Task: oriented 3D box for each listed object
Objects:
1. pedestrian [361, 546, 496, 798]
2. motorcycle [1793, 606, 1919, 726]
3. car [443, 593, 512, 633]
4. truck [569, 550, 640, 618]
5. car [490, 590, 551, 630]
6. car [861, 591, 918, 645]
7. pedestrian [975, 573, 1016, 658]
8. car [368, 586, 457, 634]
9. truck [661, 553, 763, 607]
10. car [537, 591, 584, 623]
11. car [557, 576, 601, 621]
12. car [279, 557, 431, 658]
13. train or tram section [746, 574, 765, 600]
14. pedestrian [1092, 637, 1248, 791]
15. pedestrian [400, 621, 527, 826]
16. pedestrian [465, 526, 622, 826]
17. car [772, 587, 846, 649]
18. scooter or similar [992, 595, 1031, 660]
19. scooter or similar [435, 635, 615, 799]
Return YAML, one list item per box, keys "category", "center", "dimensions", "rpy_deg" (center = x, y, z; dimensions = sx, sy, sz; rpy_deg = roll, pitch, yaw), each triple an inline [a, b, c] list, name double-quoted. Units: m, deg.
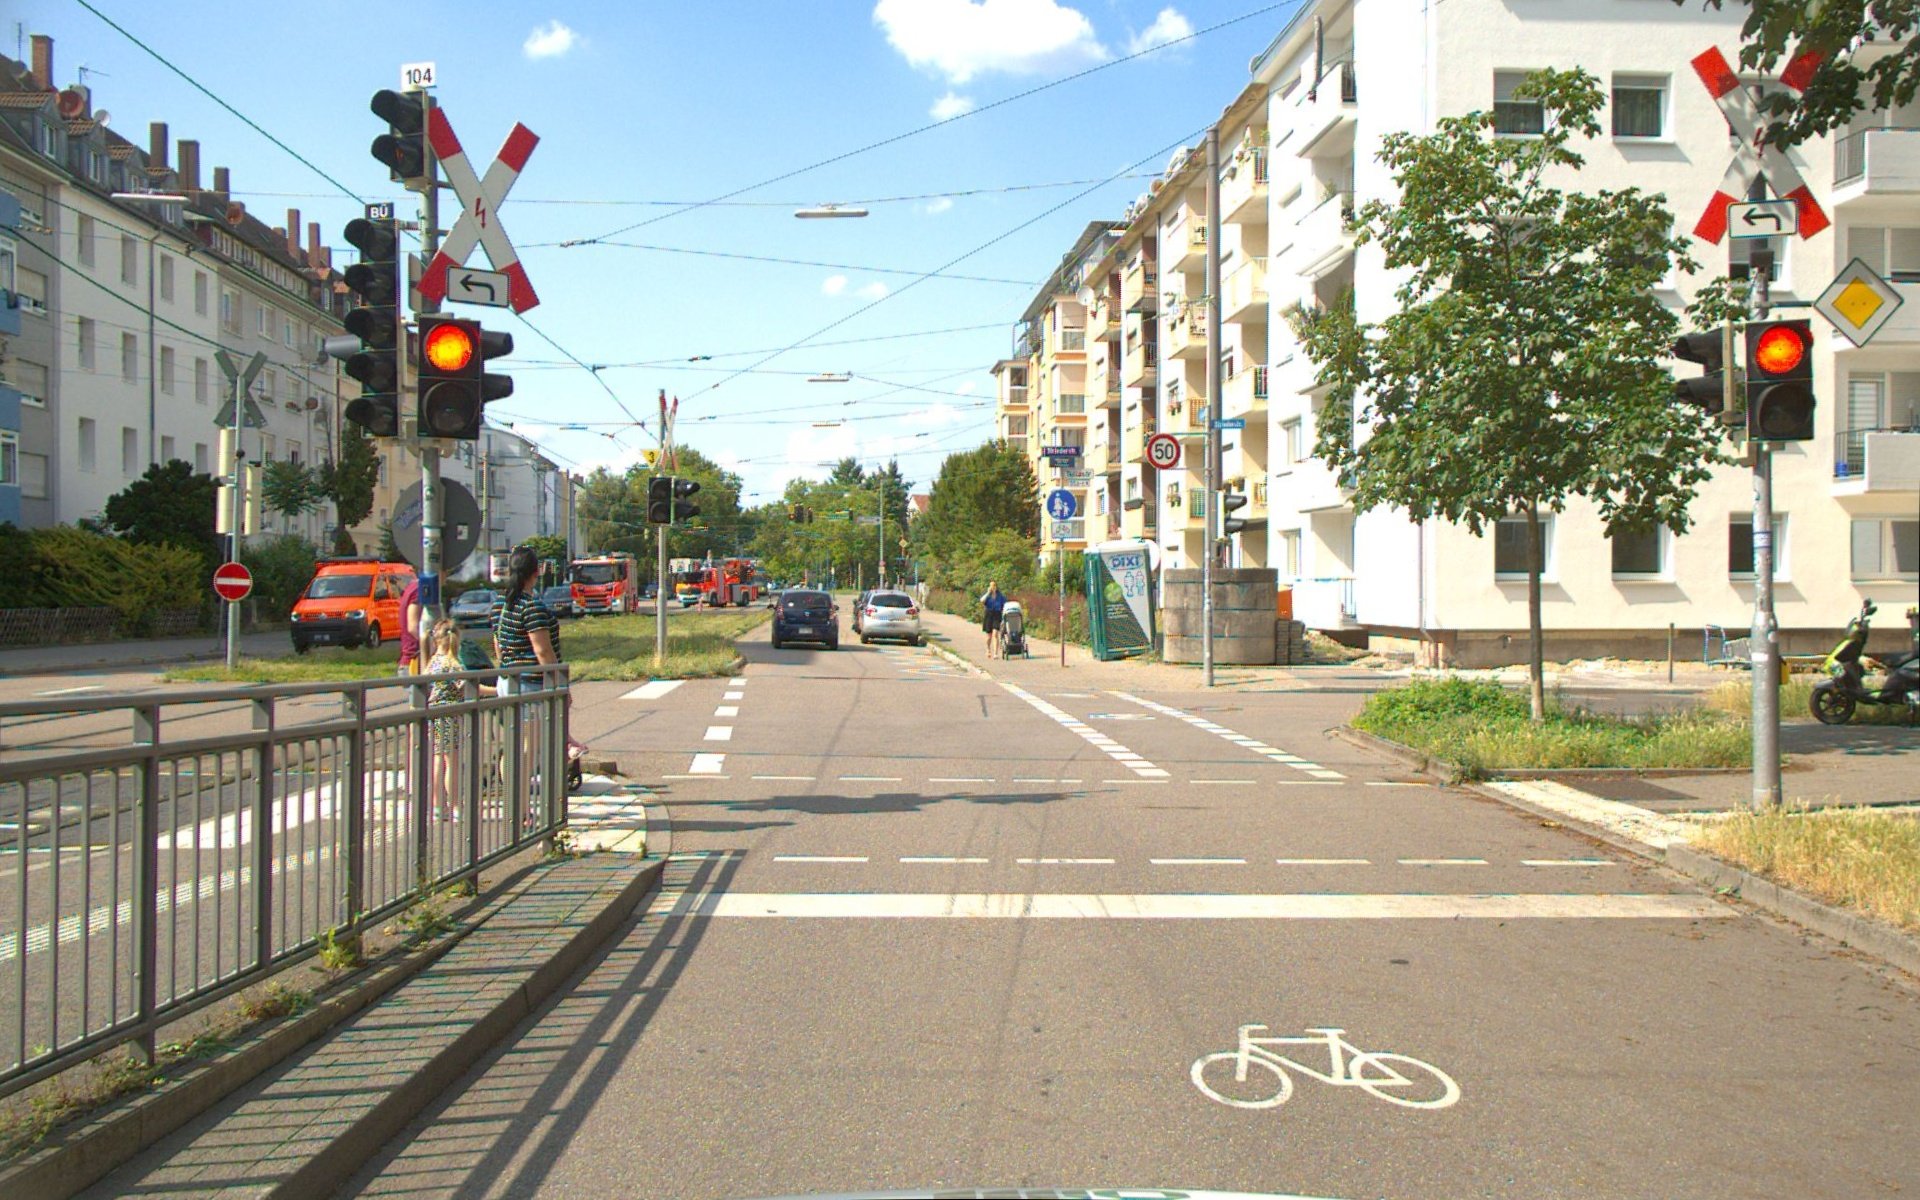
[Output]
- category: "pedestrian"
  center: [-3.662, 0.485, 11.444]
  dimensions: [0.691, 1.677, 0.636]
  rpy_deg: [2, 0, -3]
- category: "motorcycle"
  center: [10.200, 0.712, 18.119]
  dimensions: [0.565, 1.236, 1.826]
  rpy_deg: [-5, 2, -32]
- category: "car"
  center: [-18.805, 0.488, 64.622]
  dimensions: [1.733, 1.467, 3.996]
  rpy_deg: [1, 0, -4]
- category: "truck"
  center: [-17.685, -0.751, 82.681]
  dimensions: [2.546, 3.241, 8.372]
  rpy_deg: [0, 0, -6]
- category: "car"
  center: [-20.004, 0.449, 75.499]
  dimensions: [1.954, 1.741, 3.996]
  rpy_deg: [1, 0, -5]
- category: "car"
  center: [-2.094, 0.501, 48.721]
  dimensions: [1.590, 1.490, 3.508]
  rpy_deg: [1, 0, -3]
- category: "pedestrian"
  center: [0.772, 0.340, 36.503]
  dimensions: [0.687, 1.820, 1.029]
  rpy_deg: [-3, 0, -6]
- category: "car"
  center: [-18.045, 0.321, 54.671]
  dimensions: [1.733, 1.467, 3.998]
  rpy_deg: [1, 0, -3]
- category: "truck"
  center: [-17.324, -1.348, 116.480]
  dimensions: [2.611, 3.531, 10.170]
  rpy_deg: [1, 0, 19]
- category: "car"
  center: [-20.619, 0.357, 85.478]
  dimensions: [1.742, 1.584, 3.995]
  rpy_deg: [1, 0, -6]
- category: "car"
  center: [-21.220, -0.079, 92.290]
  dimensions: [1.742, 2.441, 4.689]
  rpy_deg: [1, 0, -6]
- category: "car"
  center: [-14.762, 0.150, 40.656]
  dimensions: [1.953, 2.315, 4.833]
  rpy_deg: [0, 0, 0]
- category: "train or tram section"
  center: [-25.740, -1.640, 208.480]
  dimensions: [2.215, 3.122, 8.122]
  rpy_deg: [0, 0, -6]
- category: "pedestrian"
  center: [3.146, 1.666, 25.531]
  dimensions: [1.952, 2.049, 4.001]
  rpy_deg: [1, 0, 1]
- category: "pedestrian"
  center: [-3.096, 0.738, 10.292]
  dimensions: [0.629, 1.201, 0.792]
  rpy_deg: [0, 0, -27]
- category: "pedestrian"
  center: [-2.495, 0.426, 9.861]
  dimensions: [0.833, 1.697, 0.794]
  rpy_deg: [0, 0, -20]
- category: "car"
  center: [-3.958, 0.457, 43.955]
  dimensions: [1.709, 1.533, 3.998]
  rpy_deg: [1, 0, -2]
- category: "scooter or similar"
  center: [1.097, 0.580, 35.632]
  dimensions: [0.649, 1.326, 0.867]
  rpy_deg: [-3, 1, -6]
- category: "scooter or similar"
  center: [-3.006, 0.801, 11.497]
  dimensions: [1.078, 1.074, 0.650]
  rpy_deg: [1, 0, -4]
